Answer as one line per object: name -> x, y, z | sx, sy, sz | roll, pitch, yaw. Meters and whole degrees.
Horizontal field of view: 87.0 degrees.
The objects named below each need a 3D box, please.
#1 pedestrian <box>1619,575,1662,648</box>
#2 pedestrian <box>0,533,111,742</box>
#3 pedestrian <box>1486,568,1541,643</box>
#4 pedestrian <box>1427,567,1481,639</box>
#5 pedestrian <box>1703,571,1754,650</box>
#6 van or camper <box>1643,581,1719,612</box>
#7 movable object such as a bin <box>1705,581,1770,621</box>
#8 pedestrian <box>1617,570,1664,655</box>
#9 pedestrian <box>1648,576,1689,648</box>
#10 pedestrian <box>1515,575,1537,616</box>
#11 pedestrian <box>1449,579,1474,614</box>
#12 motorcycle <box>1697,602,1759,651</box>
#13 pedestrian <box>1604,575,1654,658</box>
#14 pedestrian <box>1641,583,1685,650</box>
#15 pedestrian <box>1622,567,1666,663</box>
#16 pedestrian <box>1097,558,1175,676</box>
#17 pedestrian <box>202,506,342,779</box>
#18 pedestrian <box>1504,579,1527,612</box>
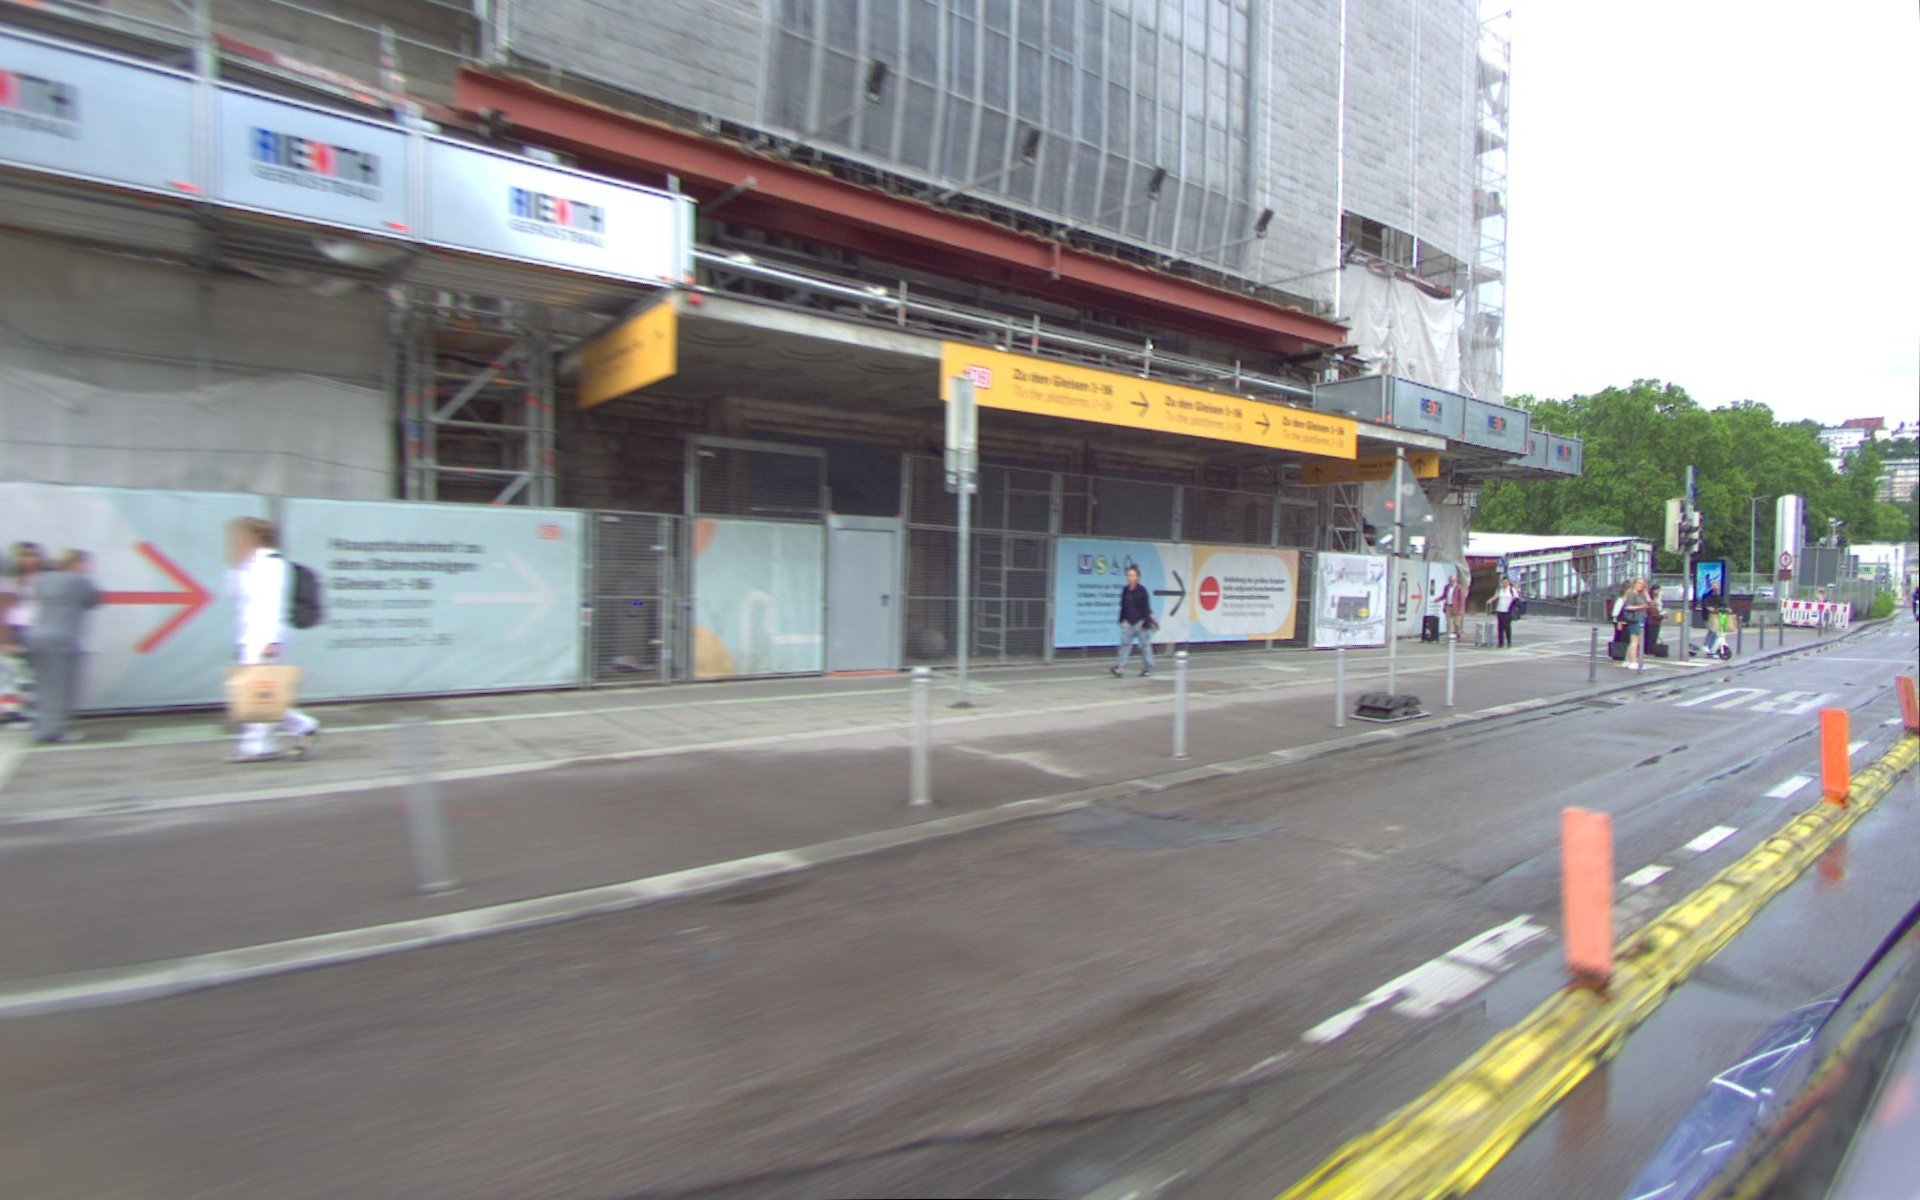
pedestrian -> 16.015, 0.269, 23.818 | 0.603, 1.670, 0.566 | 0, 4, -34
pedestrian -> -7.171, 0.269, 8.019 | 0.653, 1.558, 0.653 | 0, 4, -38
pedestrian -> 12.965, 0.116, 23.713 | 0.940, 1.697, 0.738 | 0, 4, -40
pedestrian -> 12.002, 0.061, 24.564 | 1.089, 1.703, 0.735 | 0, 1, -37
pedestrian -> 17.508, 0.225, 23.074 | 0.572, 1.762, 0.820 | 1, 1, 8
van or camper -> 61.491, -0.311, 86.518 | 2.343, 2.431, 6.058 | 2, 1, 4
movable object such as a bin -> 30.595, 0.034, 39.825 | 1.502, 1.510, 1.306 | 1, 2, -10
pedestrian -> 14.780, 0.259, 21.982 | 0.698, 1.773, 0.560 | 0, 4, -38
pedestrian -> 17.168, 0.280, 24.535 | 0.603, 1.670, 0.560 | 0, 4, -38
pedestrian -> 28.329, -0.225, 50.646 | 0.804, 2.039, 0.753 | -1, 0, 43
pedestrian -> 24.354, -0.184, 49.123 | 0.900, 1.666, 0.700 | 1, 2, 12
motorcycle -> 17.506, 0.586, 23.093 | 0.576, 1.034, 1.237 | 1, 1, 8
pedestrian -> 13.874, 0.331, 20.997 | 0.738, 1.660, 0.560 | 0, 4, -38
pedestrian -> 16.069, 0.375, 23.127 | 0.698, 1.466, 0.560 | 0, 4, -38
pedestrian -> 13.254, 0.275, 19.603 | 0.557, 1.780, 0.742 | 5, 4, 38
pedestrian -> 2.587, 0.227, 14.867 | 0.977, 1.652, 0.551 | 0, 4, -39
pedestrian -> -5.077, 0.271, 7.461 | 0.795, 1.870, 0.725 | 0, 4, -39
pedestrian -> 27.357, -0.225, 49.837 | 0.854, 1.613, 0.698 | -1, 0, 43
